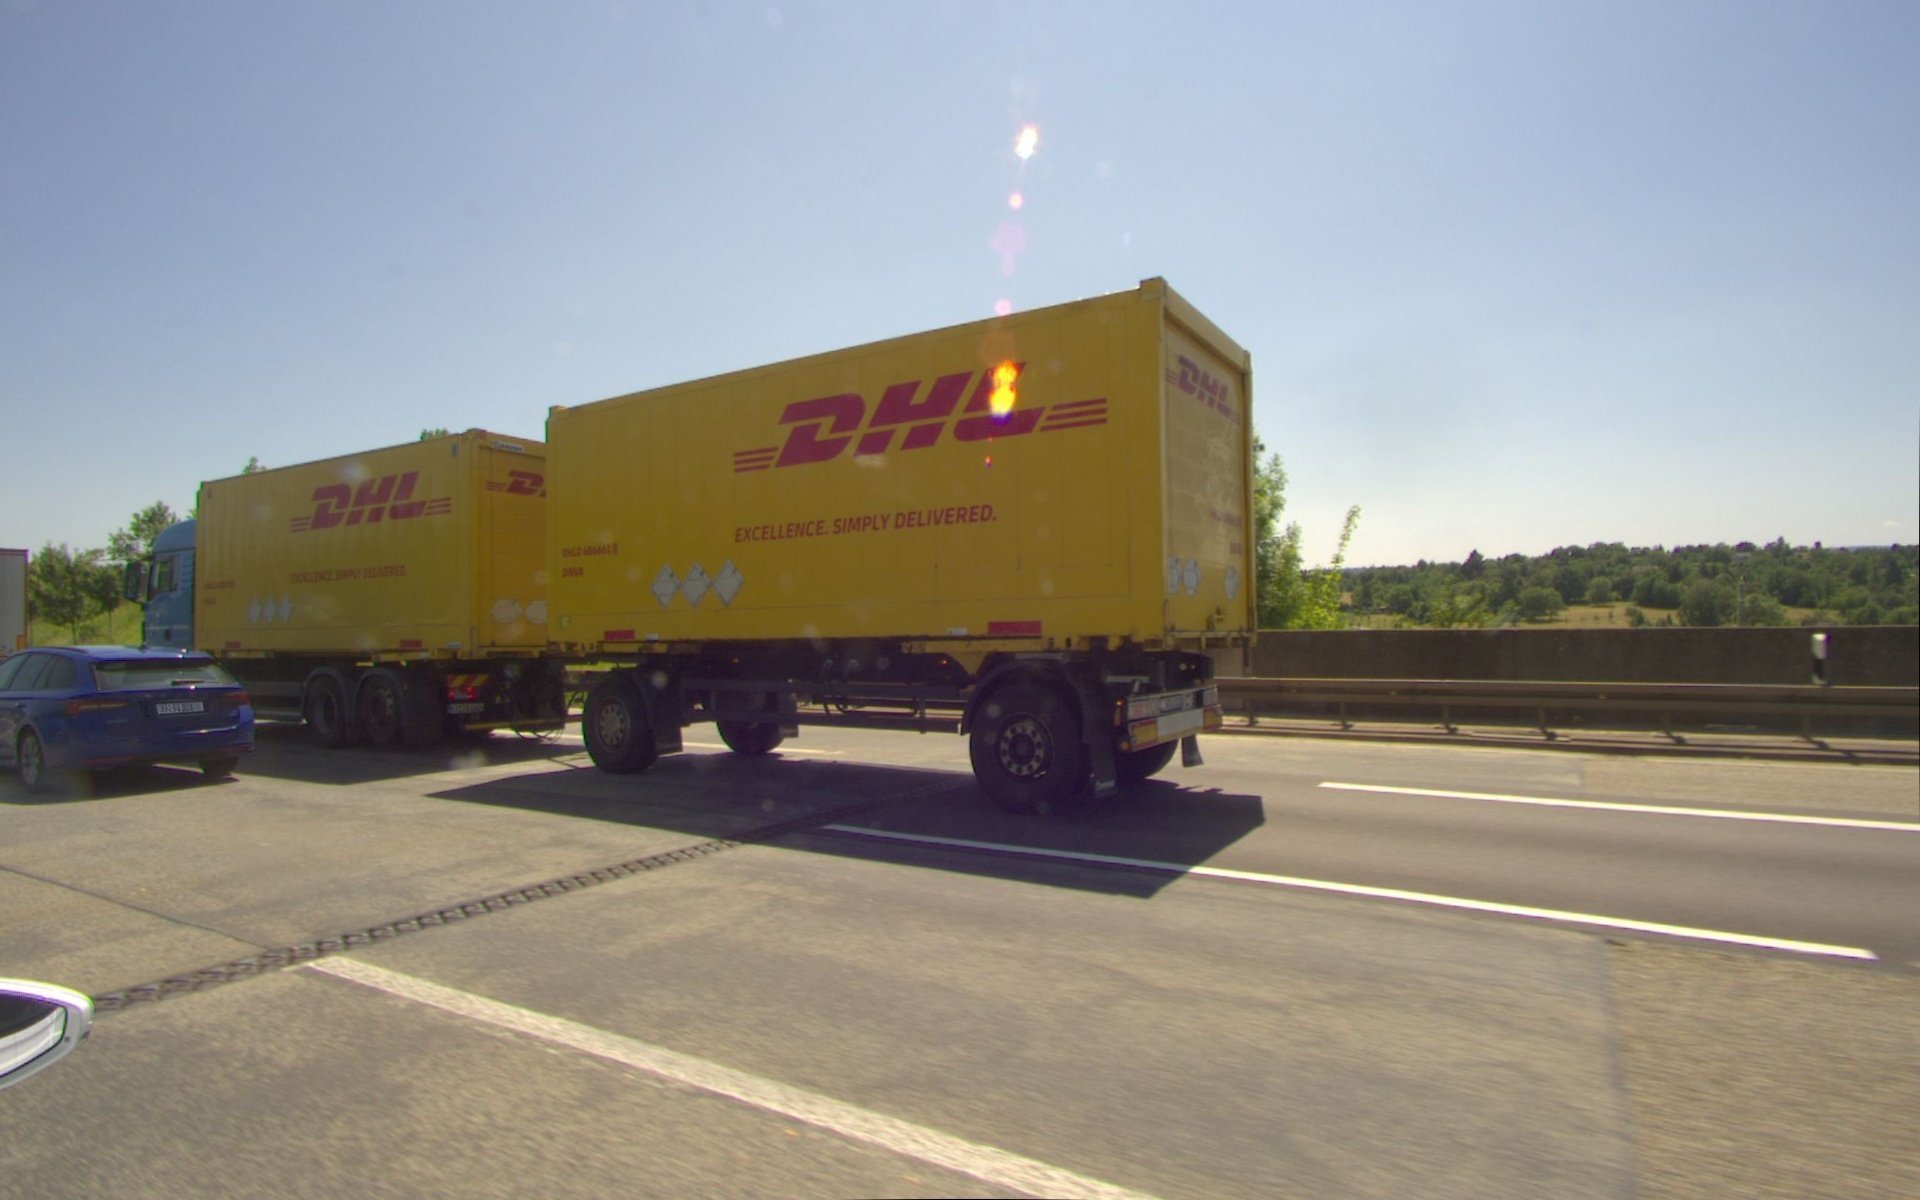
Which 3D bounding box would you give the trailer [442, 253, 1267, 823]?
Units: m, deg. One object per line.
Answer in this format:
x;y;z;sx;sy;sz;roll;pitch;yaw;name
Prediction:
-1.699;-0.273;10.952;9.244;4.169;2.761;-2;-2;32;trailer

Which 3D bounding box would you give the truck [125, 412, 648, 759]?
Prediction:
-9.357;0.023;15.736;9.809;4.161;2.762;-2;-2;31;truck

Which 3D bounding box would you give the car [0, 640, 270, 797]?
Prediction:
-9.731;1.222;11.205;4.365;1.459;1.704;-3;-3;32;car

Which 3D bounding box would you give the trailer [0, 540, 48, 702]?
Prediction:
-30.383;0.733;28.436;13.553;4.101;2.958;-2;-2;31;trailer
